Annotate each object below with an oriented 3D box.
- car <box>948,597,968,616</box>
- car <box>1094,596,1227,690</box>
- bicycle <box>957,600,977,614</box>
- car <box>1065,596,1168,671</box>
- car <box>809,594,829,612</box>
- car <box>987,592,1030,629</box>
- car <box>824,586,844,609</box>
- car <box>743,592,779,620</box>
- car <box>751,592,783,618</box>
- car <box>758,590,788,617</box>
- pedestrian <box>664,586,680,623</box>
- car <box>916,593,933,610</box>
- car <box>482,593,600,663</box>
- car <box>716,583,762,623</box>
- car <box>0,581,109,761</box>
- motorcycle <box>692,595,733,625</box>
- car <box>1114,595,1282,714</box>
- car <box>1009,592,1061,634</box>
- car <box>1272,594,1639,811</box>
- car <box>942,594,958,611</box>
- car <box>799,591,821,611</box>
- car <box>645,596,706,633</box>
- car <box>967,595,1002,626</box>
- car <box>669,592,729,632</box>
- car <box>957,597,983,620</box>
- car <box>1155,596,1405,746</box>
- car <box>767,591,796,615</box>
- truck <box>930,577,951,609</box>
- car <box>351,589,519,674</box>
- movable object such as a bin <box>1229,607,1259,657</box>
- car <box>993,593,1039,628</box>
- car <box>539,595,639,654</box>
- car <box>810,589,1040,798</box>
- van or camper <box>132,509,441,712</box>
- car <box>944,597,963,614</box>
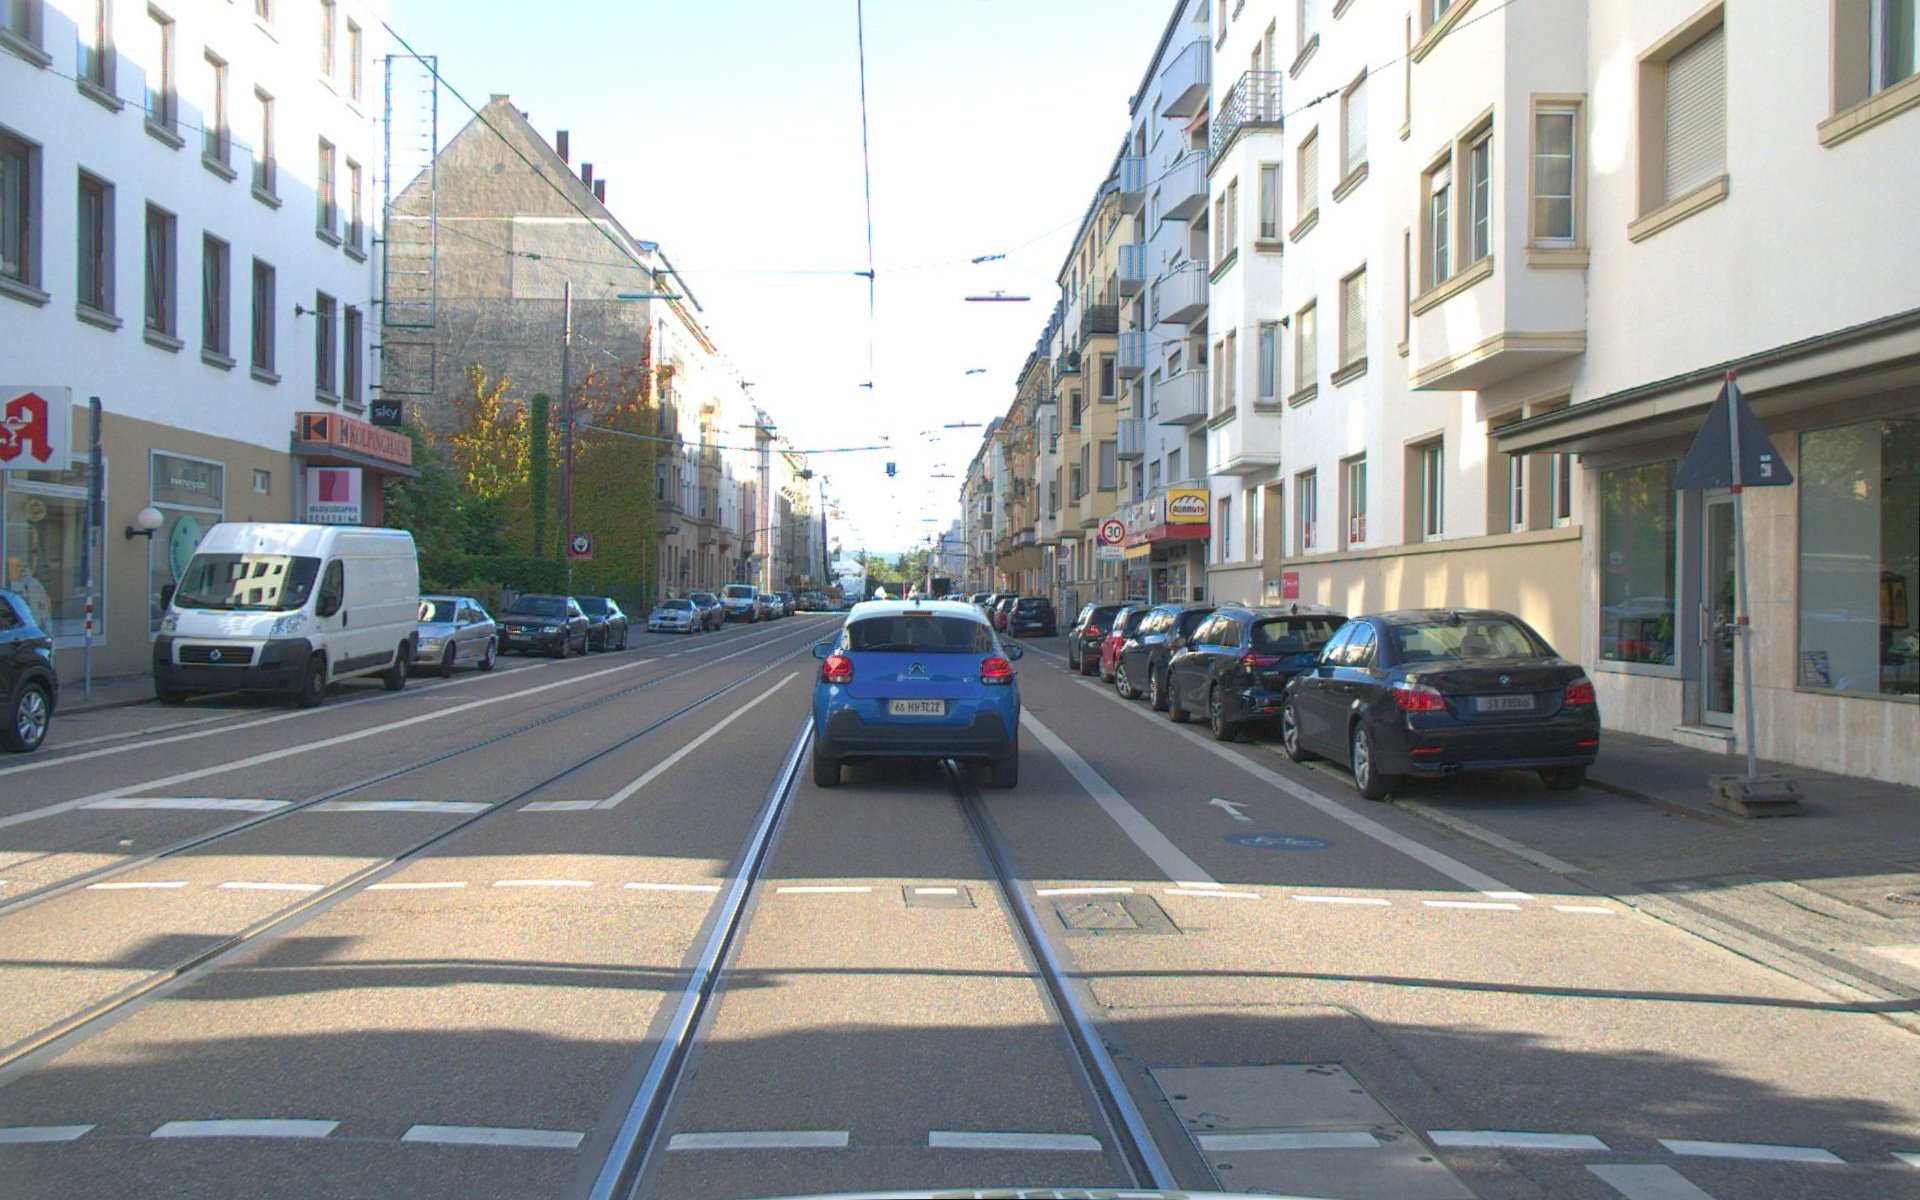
[{"bbox_3d":[-0.198,0.578,149.947,1.747,1.660,3.999,0,0,-2],"label":"car"},{"bbox_3d":[3.536,0.718,29.788,1.819,1.498,3.988,-2,0,-1],"label":"car"},{"bbox_3d":[0.598,0.622,146.879,1.688,1.174,0.469,-3,0,-2],"label":"bicycle"},{"bbox_3d":[3.257,0.662,35.097,1.676,1.432,4.357,-2,0,-1],"label":"car"},{"bbox_3d":[-13.684,0.272,160.818,1.748,1.655,4.605,2,0,-4],"label":"car"},{"bbox_3d":[2.274,0.463,78.382,1.821,1.695,4.561,0,0,-1],"label":"car"},{"bbox_3d":[-14.088,-0.285,184.670,2.102,2.518,4.976,2,0,-4],"label":"car"},{"bbox_3d":[-11.810,0.328,98.259,1.747,1.550,4.357,2,0,-3],"label":"car"},{"bbox_3d":[-12.096,0.304,103.721,1.737,1.574,4.362,2,0,-4],"label":"car"},{"bbox_3d":[-12.297,0.227,108.956,1.748,1.650,4.176,2,0,-4],"label":"car"},{"bbox_3d":[-13.622,0.222,78.206,0.666,1.754,0.616,1,0,-2],"label":"pedestrian"},{"bbox_3d":[-4.019,0.178,186.742,1.784,1.927,3.999,1,0,-2],"label":"car"},{"bbox_3d":[-9.973,0.631,39.708,1.747,1.507,4.697,2,0,-2],"label":"car"},{"bbox_3d":[-11.793,0.138,88.493,1.933,1.983,5.249,2,0,-3],"label":"car"},{"bbox_3d":[-9.382,0.609,14.498,1.747,1.579,3.992,2,0,-1],"label":"car"},{"bbox_3d":[-11.492,0.480,76.850,0.867,1.375,1.953,1,0,30],"label":"motorcycle"},{"bbox_3d":[3.429,0.739,24.575,1.819,1.533,4.095,-2,0,-1],"label":"car"},{"bbox_3d":[2.839,0.487,63.359,1.683,1.517,4.000,-1,0,-2],"label":"car"},{"bbox_3d":[4.147,0.757,14.747,1.713,1.533,4.918,-2,0,-1],"label":"car"},{"bbox_3d":[-1.071,0.246,179.013,1.695,1.859,4.685,0,0,-1],"label":"car"},{"bbox_3d":[-13.568,0.102,149.856,1.748,1.720,4.664,2,0,-4],"label":"car"},{"bbox_3d":[-11.098,0.550,64.779,1.747,1.337,4.219,2,0,-2],"label":"car"},{"bbox_3d":[1.370,0.574,94.802,1.806,1.720,4.503,0,0,-2],"label":"car"},{"bbox_3d":[-11.031,0.495,70.207,1.747,1.593,4.610,2,0,0],"label":"car"},{"bbox_3d":[0.693,0.580,116.072,1.717,1.622,3.729,0,0,-1],"label":"car"},{"bbox_3d":[3.720,0.760,20.057,1.821,1.533,4.503,-2,0,-4],"label":"car"},{"bbox_3d":[-12.361,0.222,114.728,1.747,1.580,3.018,2,0,-2],"label":"car"},{"bbox_3d":[-2.615,-0.906,220.801,2.795,4.154,11.269,0,0,-1],"label":"truck"},{"bbox_3d":[-9.834,0.551,31.315,1.747,1.423,4.444,2,0,-1],"label":"car"},{"bbox_3d":[6.277,0.707,36.534,0.547,1.075,0.554,1,0,-3],"label":"movable object such as a bin"},{"bbox_3d":[2.400,0.448,71.996,1.821,1.481,4.709,0,0,-1],"label":"car"},{"bbox_3d":[-10.238,0.643,45.949,1.747,1.471,4.840,2,0,-2],"label":"car"},{"bbox_3d":[-0.317,0.713,14.641,1.700,1.533,3.991,2,0,-2],"label":"car"},{"bbox_3d":[-9.577,0.128,24.254,2.128,2.510,6.229,2,0,-3],"label":"van or camper"},{"bbox_3d":[-0.615,0.487,155.661,1.747,1.603,4.325,0,0,-1],"label":"car"}]
